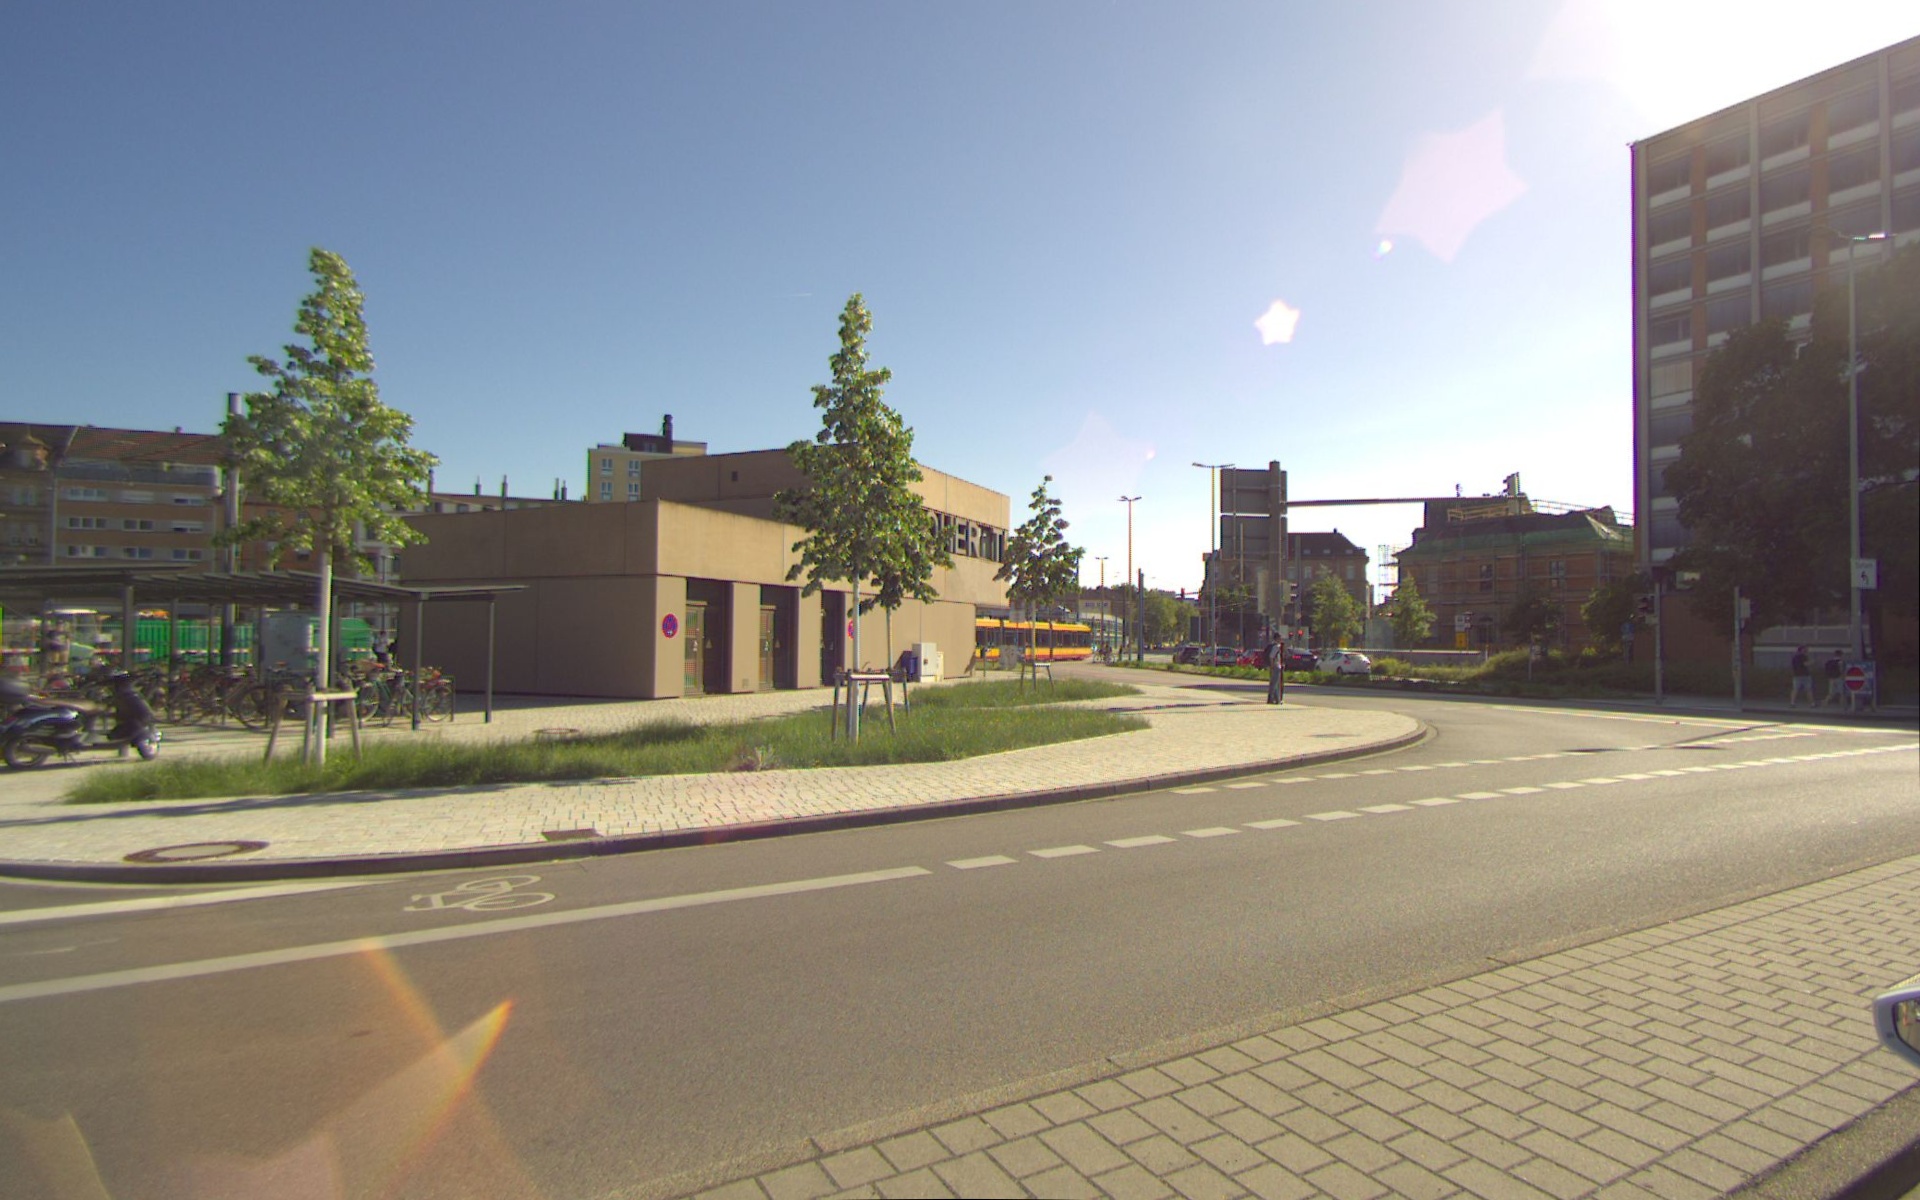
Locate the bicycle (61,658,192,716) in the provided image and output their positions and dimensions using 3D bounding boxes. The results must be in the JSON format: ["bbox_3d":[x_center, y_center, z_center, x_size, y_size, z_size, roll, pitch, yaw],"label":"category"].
[{"bbox_3d":[-15.914,1.643,19.242,0.449,1.022,1.902,0,-2,26],"label":"bicycle"}]

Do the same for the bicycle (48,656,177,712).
[{"bbox_3d":[-16.697,1.638,19.840,0.449,1.022,1.902,0,-2,26],"label":"bicycle"}]

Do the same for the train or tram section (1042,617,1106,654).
[{"bbox_3d":[10.930,3.261,94.931,2.650,3.275,10.591,2,0,26],"label":"train or tram section"}]

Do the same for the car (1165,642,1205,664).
[{"bbox_3d":[16.787,3.925,74.997,1.760,1.528,3.880,1,-2,-6],"label":"car"}]

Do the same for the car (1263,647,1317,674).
[{"bbox_3d":[20.585,3.764,62.789,1.760,1.528,3.880,1,-2,-6],"label":"car"}]

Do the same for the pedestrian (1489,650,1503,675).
[{"bbox_3d":[39.358,4.587,73.716,0.754,1.753,0.675,2,-2,-39],"label":"pedestrian"}]

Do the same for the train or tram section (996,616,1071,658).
[{"bbox_3d":[6.399,3.077,85.401,2.650,3.275,10.591,2,0,26],"label":"train or tram section"}]

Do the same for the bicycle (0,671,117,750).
[{"bbox_3d":[-13.026,1.537,14.016,0.449,1.022,1.902,0,-2,26],"label":"bicycle"}]

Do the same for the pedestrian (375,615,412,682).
[{"bbox_3d":[-16.188,1.379,28.707,0.555,1.858,0.683,0,-2,27],"label":"pedestrian"}]

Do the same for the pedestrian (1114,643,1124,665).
[{"bbox_3d":[12.964,4.373,82.026,0.761,1.786,0.706,0,-2,7],"label":"pedestrian"}]

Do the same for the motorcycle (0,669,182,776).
[{"bbox_3d":[-10.917,1.475,12.472,0.508,1.166,1.947,0,-2,25],"label":"motorcycle"}]

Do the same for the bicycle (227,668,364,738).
[{"bbox_3d":[-10.907,1.662,16.572,0.449,1.022,1.902,0,-2,26],"label":"bicycle"}]

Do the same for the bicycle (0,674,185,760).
[{"bbox_3d":[-11.812,1.556,13.725,0.449,1.022,1.902,0,-2,26],"label":"bicycle"}]

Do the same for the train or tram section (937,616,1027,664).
[{"bbox_3d":[1.851,2.917,75.819,2.650,3.275,10.591,2,0,26],"label":"train or tram section"}]

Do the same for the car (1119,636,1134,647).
[{"bbox_3d":[33.746,8.475,203.329,1.961,2.040,3.998,2,0,23],"label":"car"}]

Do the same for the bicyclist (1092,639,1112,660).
[{"bbox_3d":[12.029,4.176,84.951,1.544,1.655,0.811,2,0,14],"label":"bicyclist"}]

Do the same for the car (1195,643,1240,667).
[{"bbox_3d":[17.468,3.690,68.271,1.760,1.528,3.880,1,-2,-6],"label":"car"}]

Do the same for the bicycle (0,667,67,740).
[{"bbox_3d":[-14.156,1.508,14.448,0.449,1.022,1.902,0,-2,26],"label":"bicycle"}]

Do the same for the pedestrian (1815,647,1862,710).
[{"bbox_3d":[24.755,2.200,28.306,0.748,1.753,0.680,1,-2,-16],"label":"pedestrian"}]

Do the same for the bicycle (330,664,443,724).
[{"bbox_3d":[-10.704,1.734,18.821,0.449,1.022,1.902,0,-2,26],"label":"bicycle"}]

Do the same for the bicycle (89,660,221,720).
[{"bbox_3d":[-15.078,1.655,18.866,0.449,1.022,1.902,0,-2,26],"label":"bicycle"}]

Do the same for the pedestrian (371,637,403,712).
[{"bbox_3d":[-15.818,2.053,27.751,0.710,2.040,0.682,2,-3,-30],"label":"pedestrian"}]

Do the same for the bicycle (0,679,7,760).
[{"bbox_3d":[-12.743,1.485,12.005,0.449,1.022,1.902,0,-2,26],"label":"bicycle"}]

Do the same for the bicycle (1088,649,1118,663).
[{"bbox_3d":[12.088,4.746,84.933,2.370,1.076,0.811,2,0,14],"label":"bicycle"}]

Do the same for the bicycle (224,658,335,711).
[{"bbox_3d":[-14.069,1.728,20.830,0.449,1.022,1.902,0,-2,26],"label":"bicycle"}]

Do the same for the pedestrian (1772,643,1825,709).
[{"bbox_3d":[24.548,2.197,29.408,0.895,1.887,0.813,1,-2,-16],"label":"pedestrian"}]

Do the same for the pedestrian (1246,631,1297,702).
[{"bbox_3d":[7.853,1.667,25.353,1.044,1.753,0.652,1,-2,-16],"label":"pedestrian"}]

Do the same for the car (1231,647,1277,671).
[{"bbox_3d":[20.216,4.028,69.250,1.760,1.528,3.880,1,-2,-6],"label":"car"}]

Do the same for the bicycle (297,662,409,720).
[{"bbox_3d":[-11.793,1.743,19.578,0.449,1.022,1.902,0,-2,26],"label":"bicycle"}]

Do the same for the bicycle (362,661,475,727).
[{"bbox_3d":[-9.924,1.696,18.491,0.449,1.112,1.902,0,-2,26],"label":"bicycle"}]

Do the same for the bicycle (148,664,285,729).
[{"bbox_3d":[-12.895,1.648,17.491,0.449,1.022,1.902,0,-2,26],"label":"bicycle"}]

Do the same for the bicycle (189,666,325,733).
[{"bbox_3d":[-11.886,1.652,17.061,0.449,1.022,1.902,0,-2,26],"label":"bicycle"}]

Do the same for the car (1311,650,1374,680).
[{"bbox_3d":[21.258,3.591,55.933,1.760,1.528,3.880,1,-2,-6],"label":"car"}]
